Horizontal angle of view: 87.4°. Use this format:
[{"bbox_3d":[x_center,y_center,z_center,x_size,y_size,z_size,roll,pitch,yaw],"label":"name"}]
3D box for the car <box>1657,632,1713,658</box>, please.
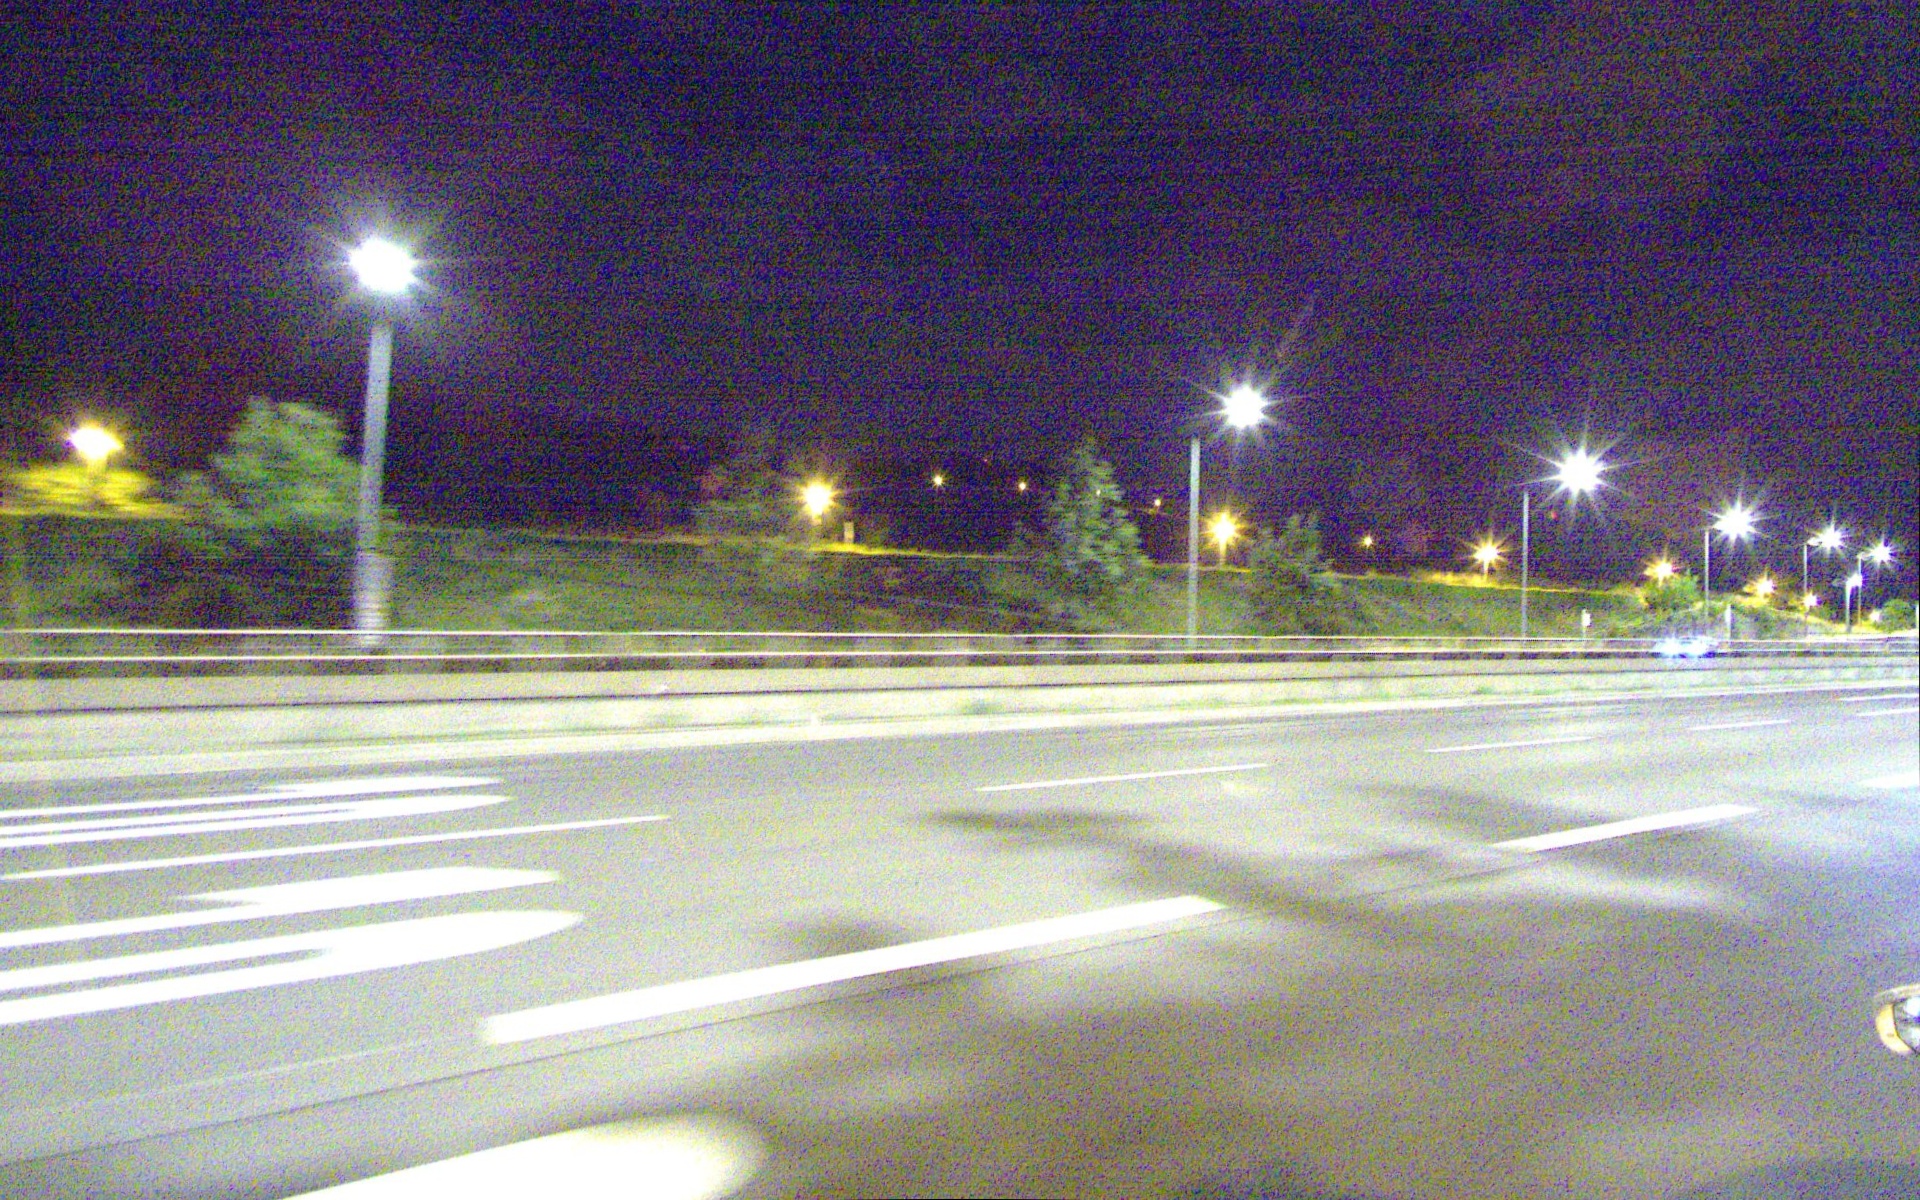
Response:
[{"bbox_3d":[47.741,2.970,66.173,3.636,1.500,1.618,3,-1,-30],"label":"car"}]
